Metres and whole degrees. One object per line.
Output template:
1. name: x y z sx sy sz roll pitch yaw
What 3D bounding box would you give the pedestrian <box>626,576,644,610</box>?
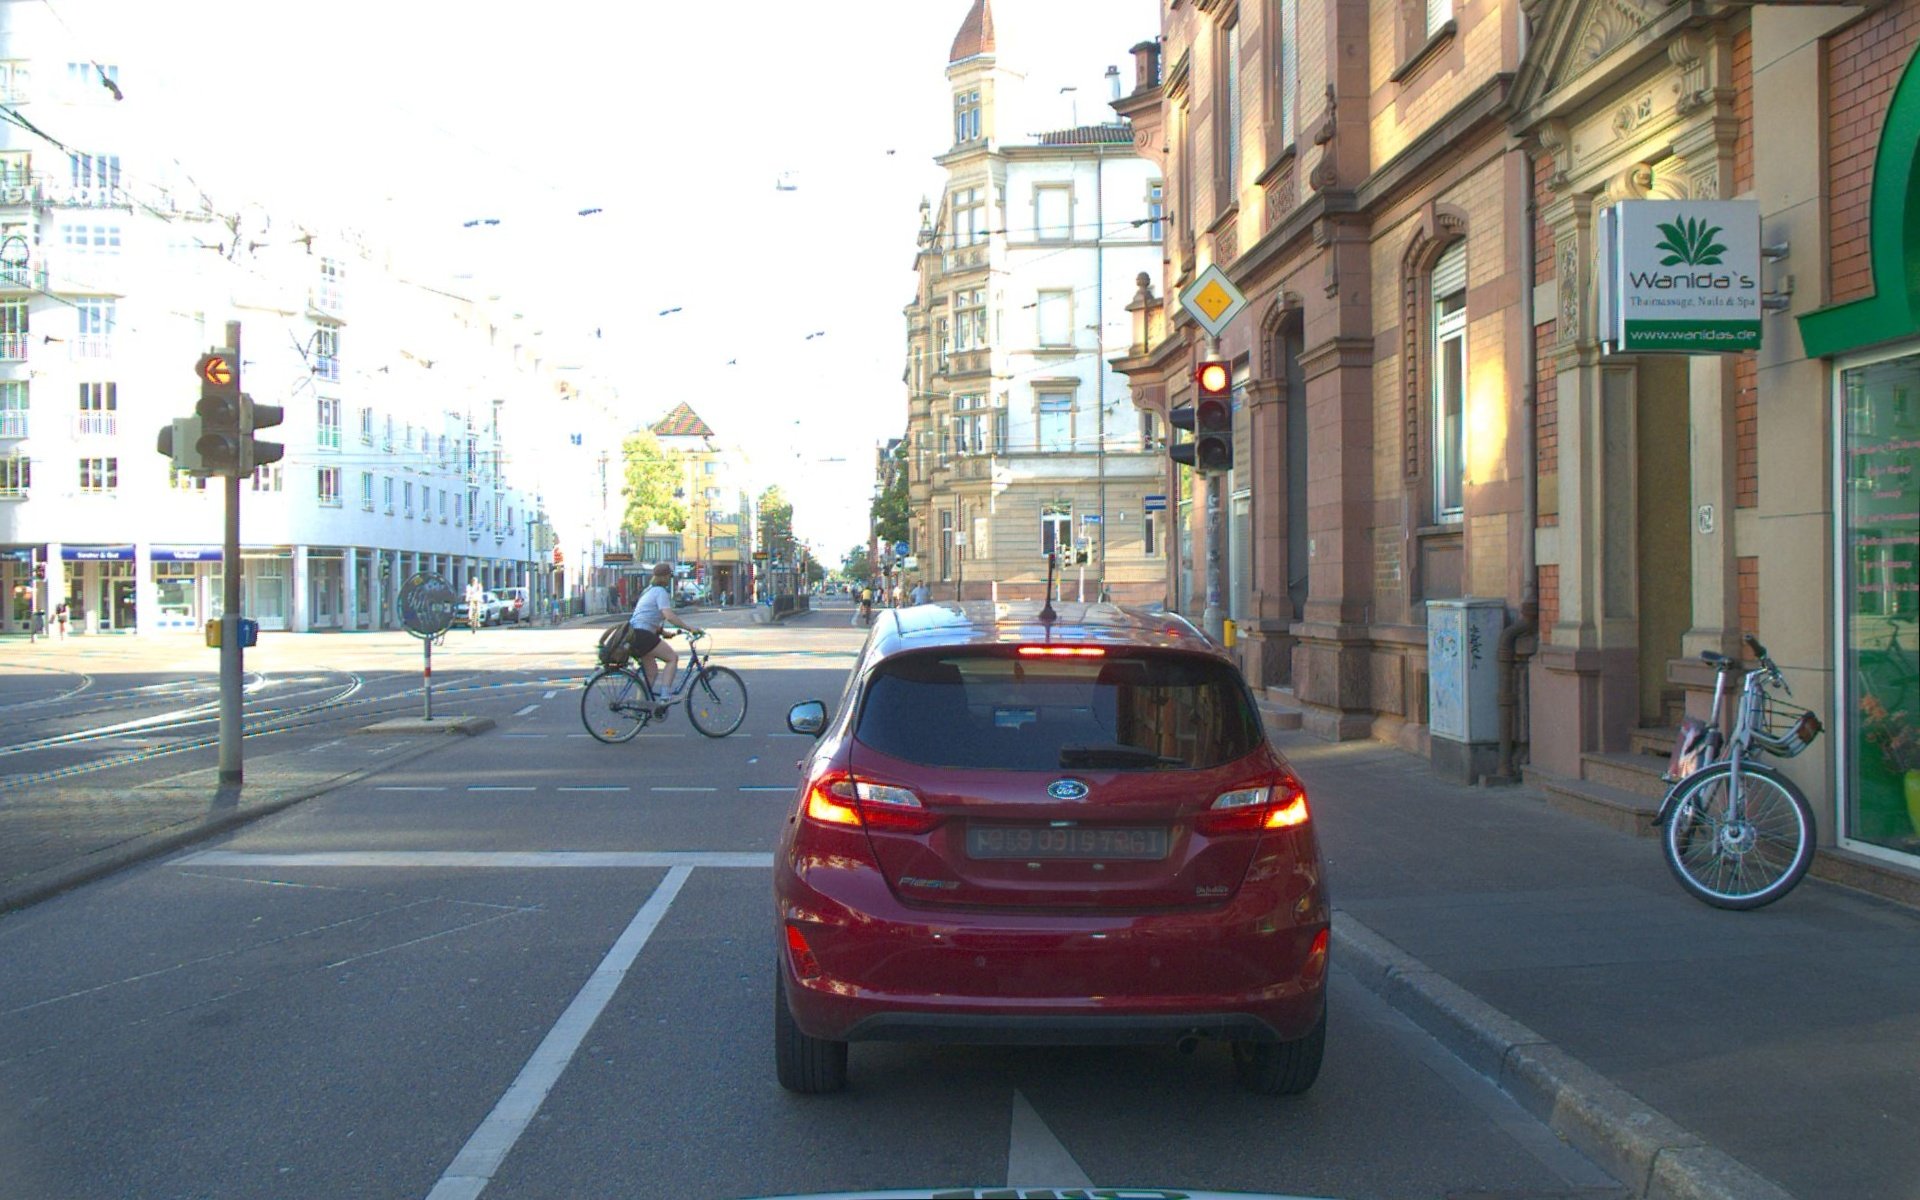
1. pedestrian: -20.142 -0.425 102.514 1.025 2.049 0.958 -1 0 -6

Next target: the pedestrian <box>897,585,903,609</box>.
1. pedestrian: -4.298 -0.196 118.117 0.405 1.710 0.484 -1 0 -1

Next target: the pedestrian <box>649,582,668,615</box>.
1. pedestrian: -18.727 -0.090 102.795 1.025 2.049 0.958 -1 0 -6

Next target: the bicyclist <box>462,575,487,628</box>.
1. bicyclist: -17.221 0.052 58.666 0.795 1.853 0.988 -1 0 -18

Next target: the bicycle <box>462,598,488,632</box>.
1. bicycle: -17.219 0.528 58.683 0.795 1.167 2.000 -1 0 -18

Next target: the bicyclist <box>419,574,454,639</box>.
1. bicyclist: -14.414 0.174 45.548 0.792 1.756 0.793 -1 0 -9

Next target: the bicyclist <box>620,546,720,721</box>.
1. bicyclist: -2.834 0.310 16.161 0.723 1.655 0.757 0 0 -33

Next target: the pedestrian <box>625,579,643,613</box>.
1. pedestrian: -19.828 -0.233 100.596 0.937 2.049 1.048 -1 0 -4

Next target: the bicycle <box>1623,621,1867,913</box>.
1. bicycle: 3.634 0.722 7.796 0.700 1.172 1.656 -2 0 15

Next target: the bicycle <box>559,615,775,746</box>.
1. bicycle: -2.840 0.754 16.152 2.000 1.198 0.621 0 0 -34

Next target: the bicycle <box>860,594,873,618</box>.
1. bicycle: -4.426 0.270 78.319 0.515 1.108 1.486 -1 0 1

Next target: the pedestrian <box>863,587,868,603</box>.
1. pedestrian: -11.459 -0.647 200.961 0.565 1.920 0.630 -1 0 -3

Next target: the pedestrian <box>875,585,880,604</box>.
1. pedestrian: -8.756 -0.581 175.870 0.565 2.049 0.630 -1 0 -3

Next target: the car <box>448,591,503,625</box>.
1. car: -23.366 0.359 79.821 1.730 1.573 3.459 -1 0 -3

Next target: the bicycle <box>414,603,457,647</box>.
1. bicycle: -14.388 0.667 45.426 0.793 1.167 2.045 -1 0 -9

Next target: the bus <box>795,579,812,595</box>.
1. bus: -20.510 -1.706 217.046 1.887 2.049 7.134 -1 0 -2

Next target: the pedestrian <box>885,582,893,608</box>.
1. pedestrian: -5.682 -0.415 132.125 0.565 2.049 0.631 -1 0 2

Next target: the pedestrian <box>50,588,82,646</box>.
1. pedestrian: -31.666 0.589 58.598 0.934 2.049 0.930 -1 0 -31

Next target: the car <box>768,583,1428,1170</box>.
1. car: 0.200 0.706 6.255 1.720 1.492 3.941 1 0 -5

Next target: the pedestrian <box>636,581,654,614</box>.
1. pedestrian: -19.956 -0.155 104.878 1.025 2.049 0.958 -1 0 -6

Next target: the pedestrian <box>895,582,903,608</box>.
1. pedestrian: -4.948 -0.417 134.831 0.565 2.049 0.631 -1 0 2

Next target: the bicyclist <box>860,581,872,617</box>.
1. bicyclist: -4.435 -0.037 78.173 0.489 1.705 0.545 -1 0 1

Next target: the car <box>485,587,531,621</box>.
1. car: -23.847 0.210 87.387 1.667 1.748 3.561 -1 0 -4

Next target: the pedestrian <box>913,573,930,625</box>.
1. pedestrian: -1.545 -0.042 66.987 0.638 2.049 0.759 -1 0 -4

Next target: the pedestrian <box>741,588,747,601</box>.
1. pedestrian: -25.695 -0.652 196.676 0.619 1.632 0.575 -1 0 -20

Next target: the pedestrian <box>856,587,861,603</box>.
1. pedestrian: -12.565 -0.598 204.912 0.565 1.920 0.669 -1 0 -3

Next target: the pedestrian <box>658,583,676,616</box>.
1. pedestrian: -18.669 -0.049 105.528 1.025 2.049 0.958 -1 0 -6

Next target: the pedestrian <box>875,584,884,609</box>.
1. pedestrian: -6.432 -0.278 132.157 0.565 2.049 0.631 -1 0 2

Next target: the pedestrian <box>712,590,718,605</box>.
1. pedestrian: -24.972 -0.251 168.707 0.569 1.514 0.525 -1 0 -5

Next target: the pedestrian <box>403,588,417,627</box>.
1. pedestrian: -24.208 0.320 72.801 0.514 1.711 0.485 -1 0 -11

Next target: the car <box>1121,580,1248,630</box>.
1. car: 7.860 0.161 58.241 4.350 1.669 1.705 -1 0 6

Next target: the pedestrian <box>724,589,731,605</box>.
1. pedestrian: -23.121 -0.296 164.478 0.513 1.514 0.582 -1 0 -2
